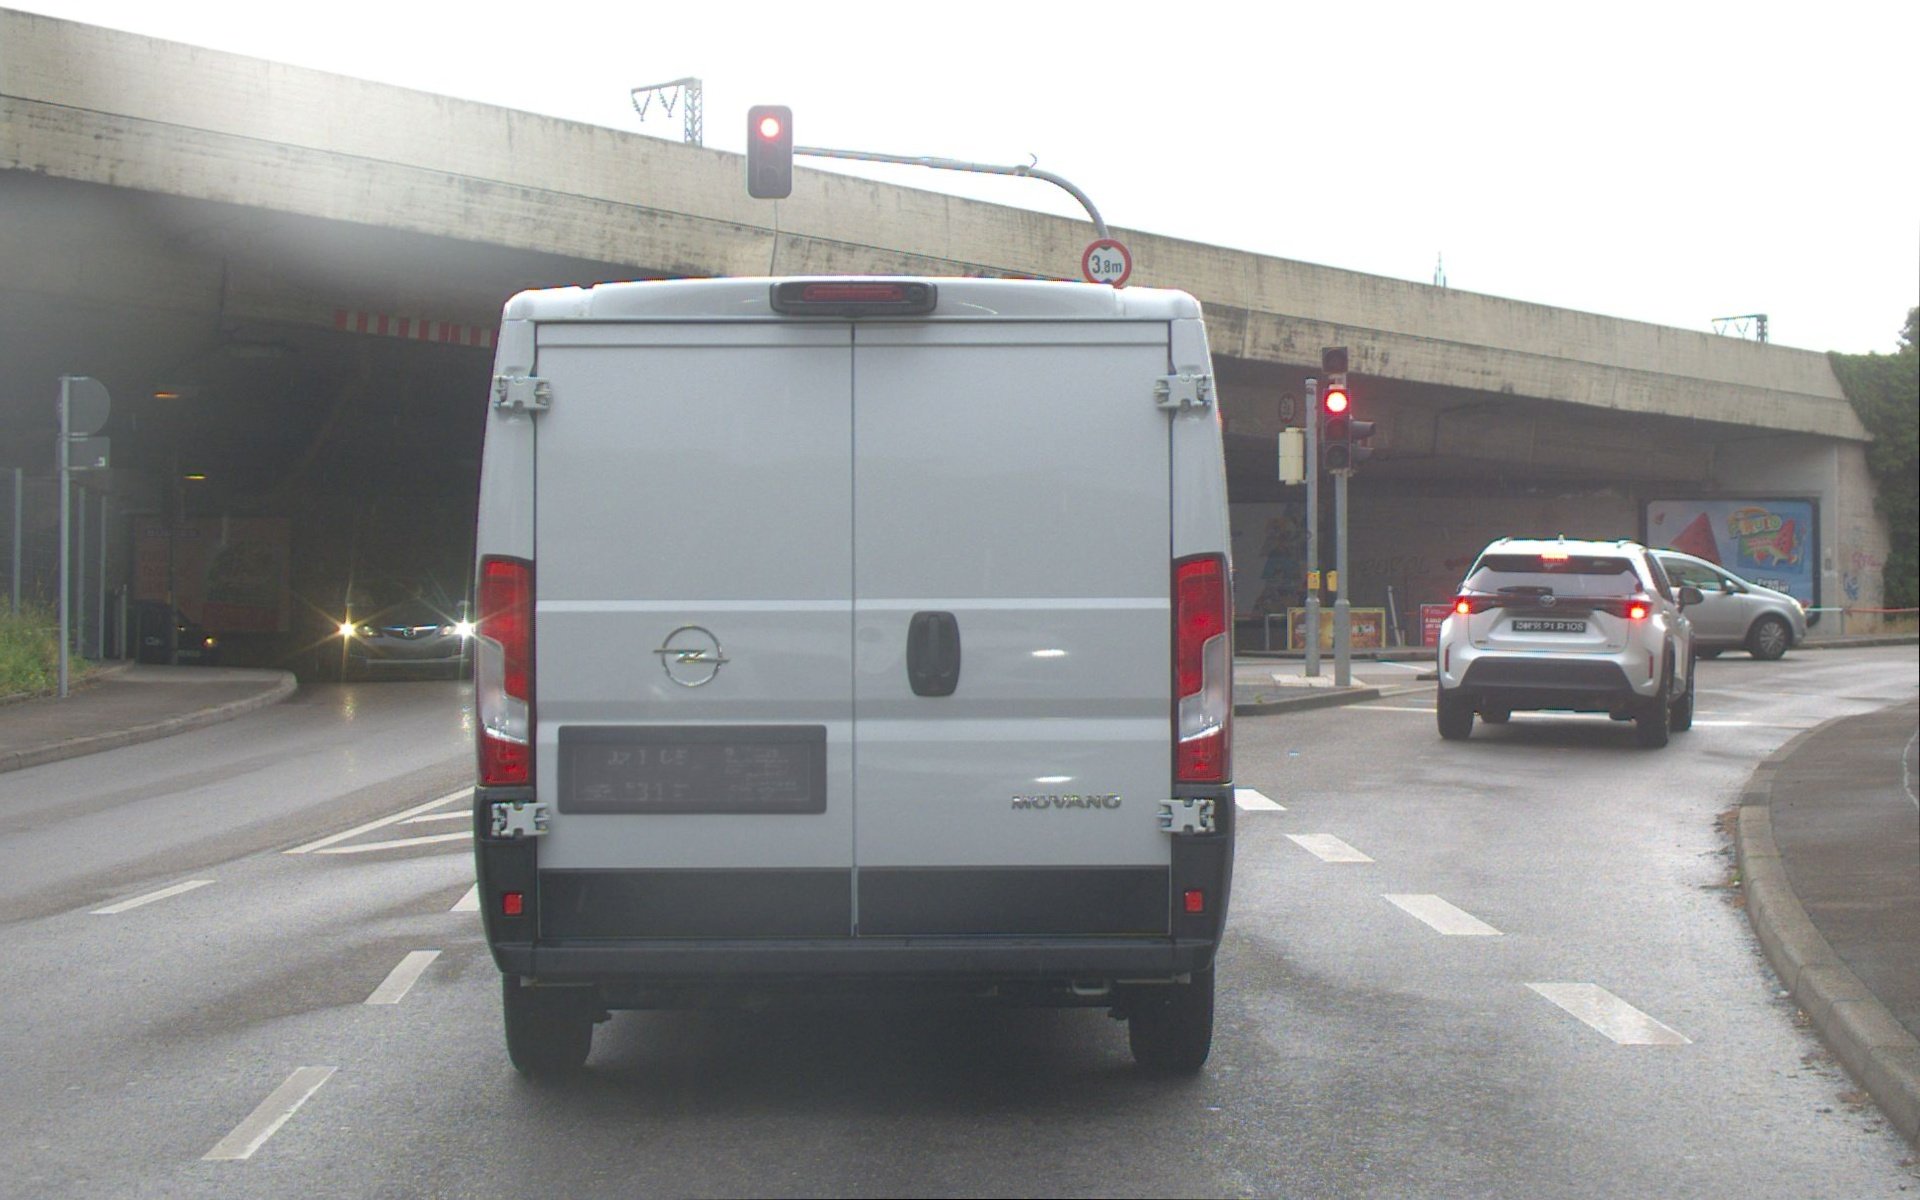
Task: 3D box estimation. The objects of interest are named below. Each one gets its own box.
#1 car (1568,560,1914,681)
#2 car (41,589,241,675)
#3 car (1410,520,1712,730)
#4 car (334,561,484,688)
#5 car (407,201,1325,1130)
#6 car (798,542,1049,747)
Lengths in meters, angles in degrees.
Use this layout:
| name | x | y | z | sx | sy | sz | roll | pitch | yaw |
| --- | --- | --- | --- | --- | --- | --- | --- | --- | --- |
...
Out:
| name | x | y | z | sx | sy | sz | roll | pitch | yaw |
| --- | --- | --- | --- | --- | --- | --- | --- | --- | --- |
| car | 10.283 | 0.275 | 45.339 | 3.986 | 1.549 | 2.000 | 0 | 0 | -19 |
| car | -15.023 | 0.579 | 62.962 | 1.994 | 1.513 | 3.998 | 1 | -1 | -40 |
| car | 4.872 | 0.194 | 27.453 | 1.995 | 1.544 | 3.997 | 0 | 0 | 16 |
| car | -7.193 | 0.277 | 44.817 | 1.841 | 1.564 | 4.413 | 0 | 1 | -9 |
| car | -0.226 | 0.139 | 11.459 | 2.305 | 2.335 | 5.282 | -1 | 1 | 0 |
| car | -0.259 | 0.384 | 30.975 | 1.994 | 1.723 | 3.999 | 0 | 0 | 3 |
